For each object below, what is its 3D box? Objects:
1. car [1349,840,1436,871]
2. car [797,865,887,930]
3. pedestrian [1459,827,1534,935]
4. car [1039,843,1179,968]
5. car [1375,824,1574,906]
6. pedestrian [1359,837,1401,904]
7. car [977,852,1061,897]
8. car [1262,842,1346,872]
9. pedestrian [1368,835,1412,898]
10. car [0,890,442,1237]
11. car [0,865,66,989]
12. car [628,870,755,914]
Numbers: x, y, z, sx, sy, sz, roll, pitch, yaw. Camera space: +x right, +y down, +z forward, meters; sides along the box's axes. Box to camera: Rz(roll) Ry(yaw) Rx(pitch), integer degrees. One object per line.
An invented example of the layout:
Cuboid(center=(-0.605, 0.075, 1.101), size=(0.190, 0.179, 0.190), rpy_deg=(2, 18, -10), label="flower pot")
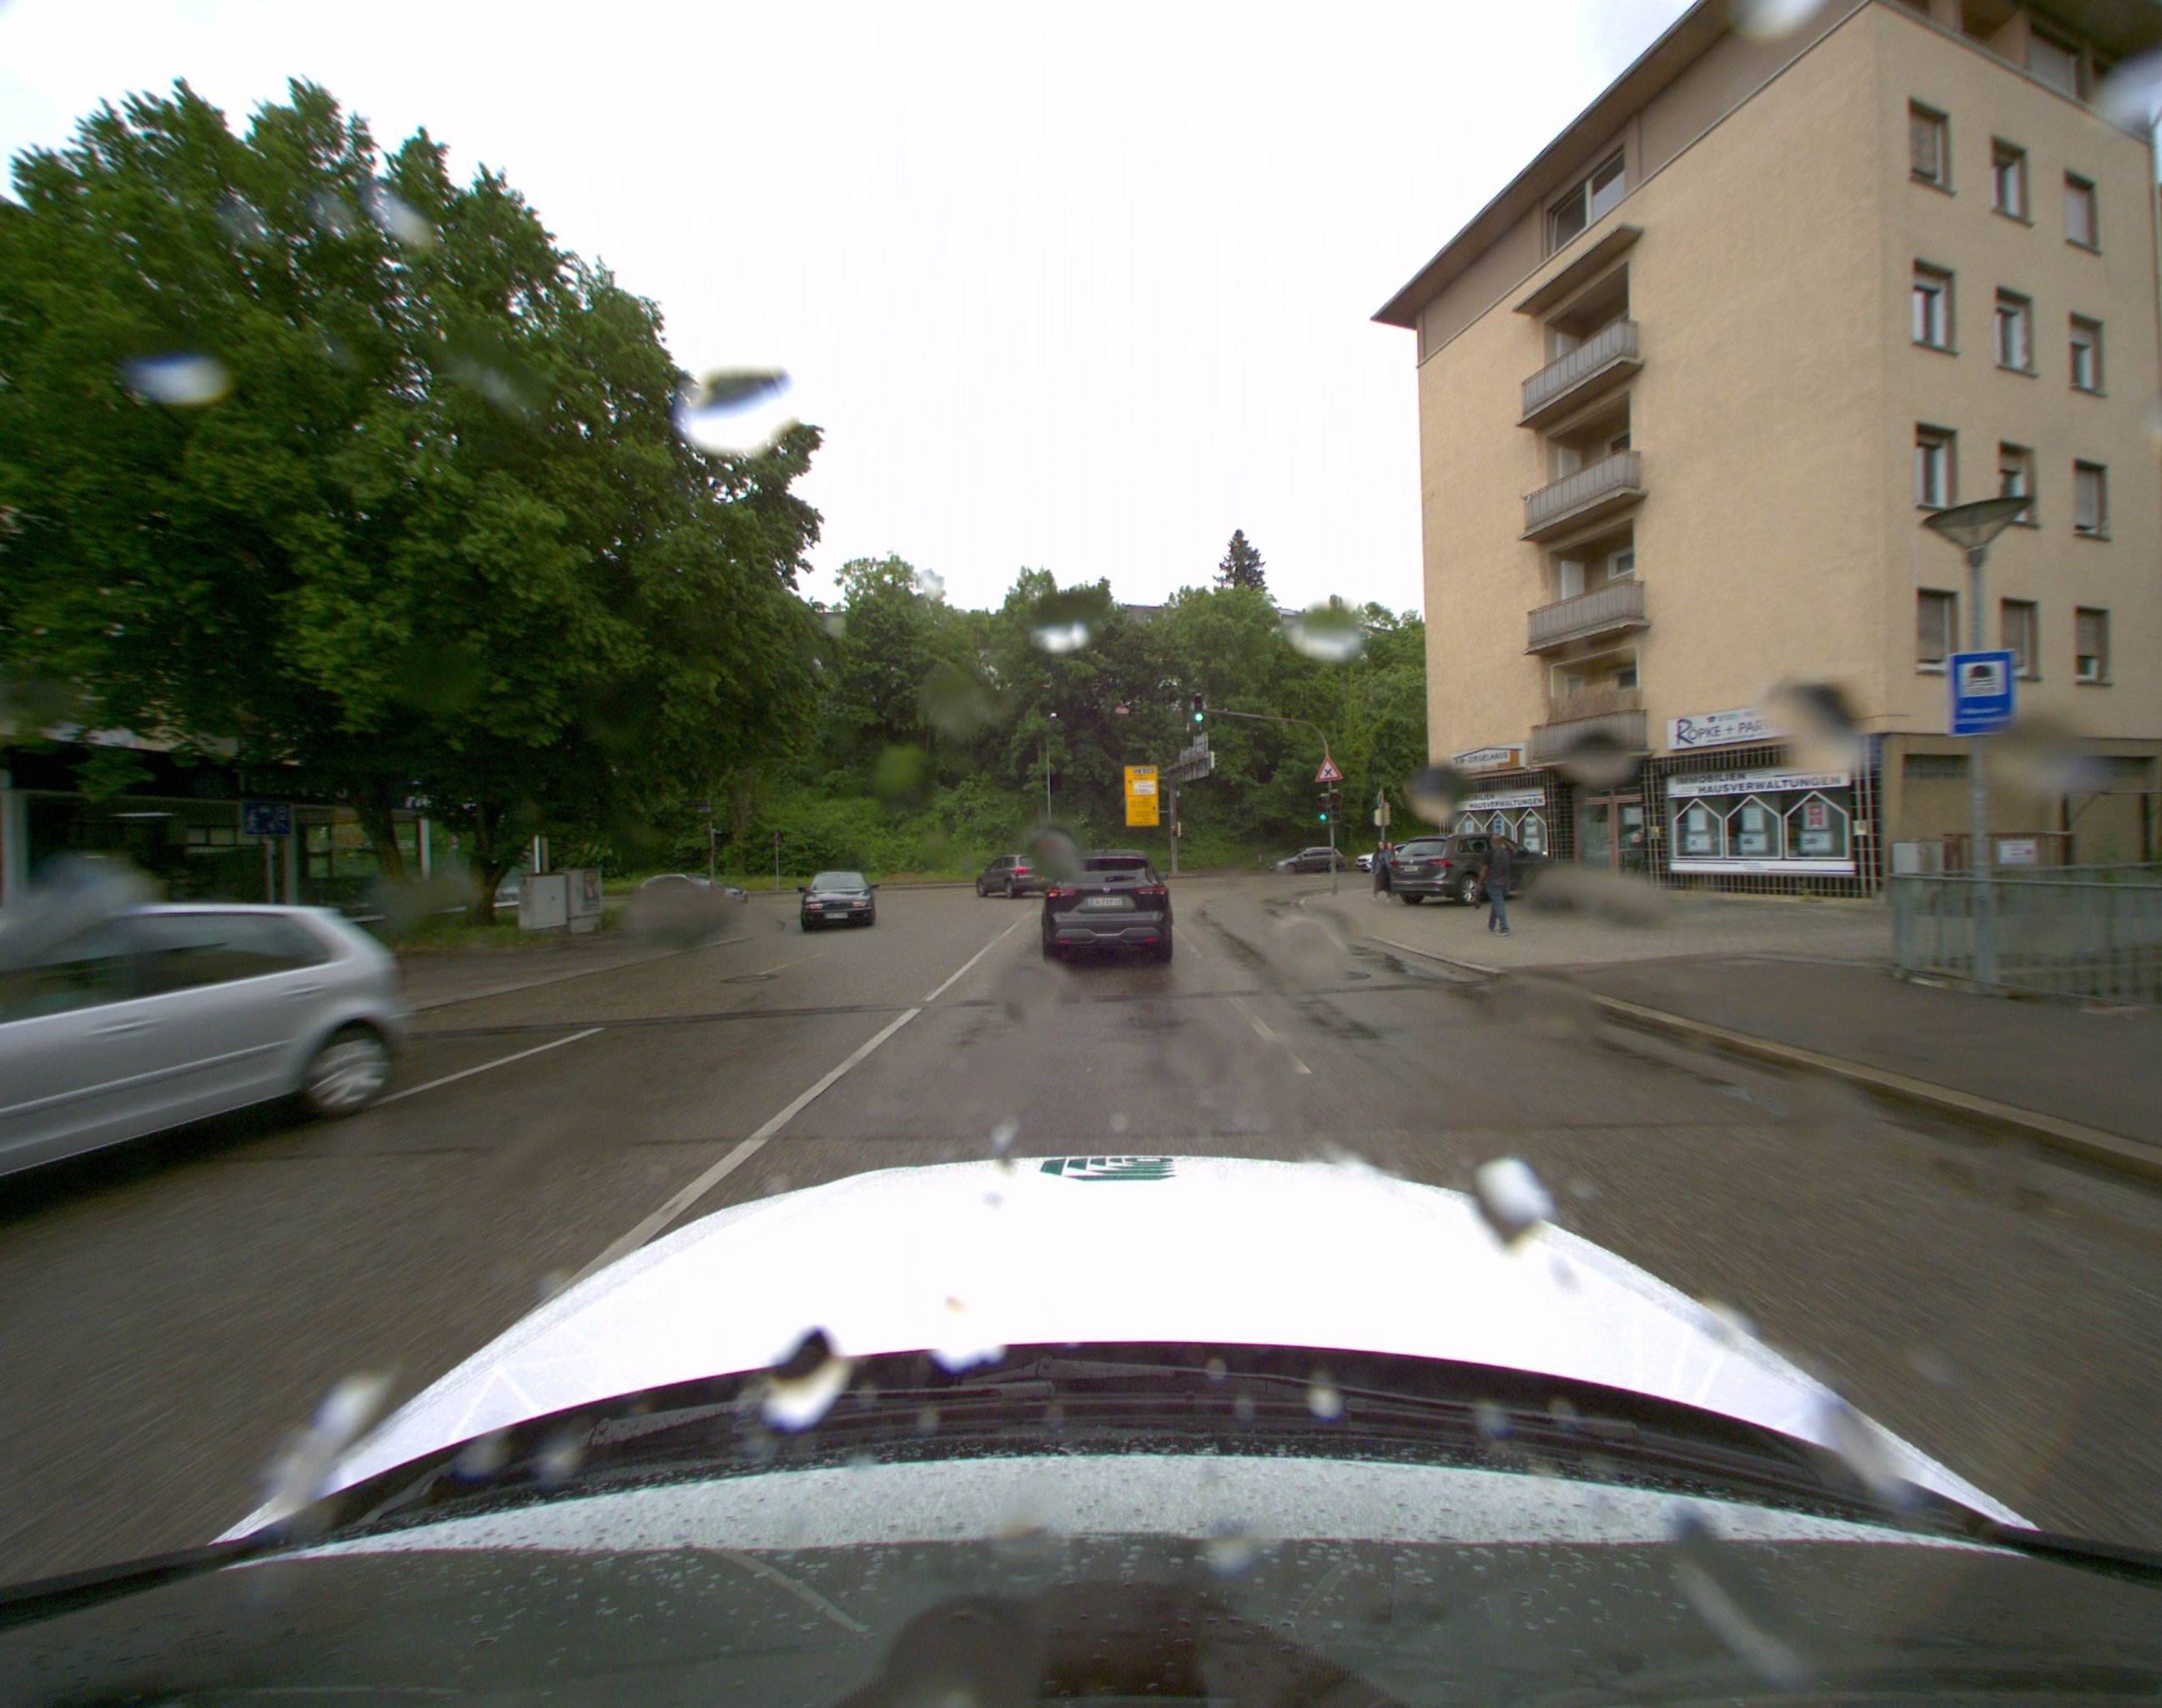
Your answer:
Cuboid(center=(17.187, 0.064, 44.961), size=(4.147, 1.561, 1.801), rpy_deg=(-2, 0, -13), label="car")
Cuboid(center=(-6.277, 1.076, 21.830), size=(1.728, 1.459, 4.413), rpy_deg=(-3, 0, -9), label="car")
Cuboid(center=(6.813, 0.425, 13.391), size=(0.758, 1.677, 0.781), rpy_deg=(-4, 1, 1), label="pedestrian")
Cuboid(center=(0.418, 0.668, 12.735), size=(1.804, 1.603, 4.001), rpy_deg=(-2, 0, 1), label="car")
Cuboid(center=(9.397, 0.222, 19.451), size=(4.388, 1.649, 1.868), rpy_deg=(-3, 0, -25), label="car")
Cuboid(center=(7.384, 0.394, 20.152), size=(0.655, 1.600, 0.795), rpy_deg=(-4, 0, -1), label="pedestrian")
Cuboid(center=(-2.470, 0.763, 31.443), size=(1.821, 1.603, 3.964), rpy_deg=(-1, -1, -27), label="car")
Cuboid(center=(13.059, 0.151, 47.727), size=(4.325, 1.502, 1.877), rpy_deg=(-3, 0, -10), label="car")
Cuboid(center=(8.064, 0.326, 21.250), size=(0.786, 1.575, 0.754), rpy_deg=(-4, 1, -44), label="pedestrian")
Cuboid(center=(-5.550, 1.001, 4.095), size=(1.620, 1.419, 3.688), rpy_deg=(-2, 0, 2), label="car")
Cuboid(center=(-18.971, 1.210, 12.071), size=(4.738, 1.854, 1.995), rpy_deg=(-2, 2, -8), label="car")
Cuboid(center=(-15.025, 1.457, 31.443), size=(4.162, 1.450, 1.824), rpy_deg=(-2, 0, 15), label="car")
